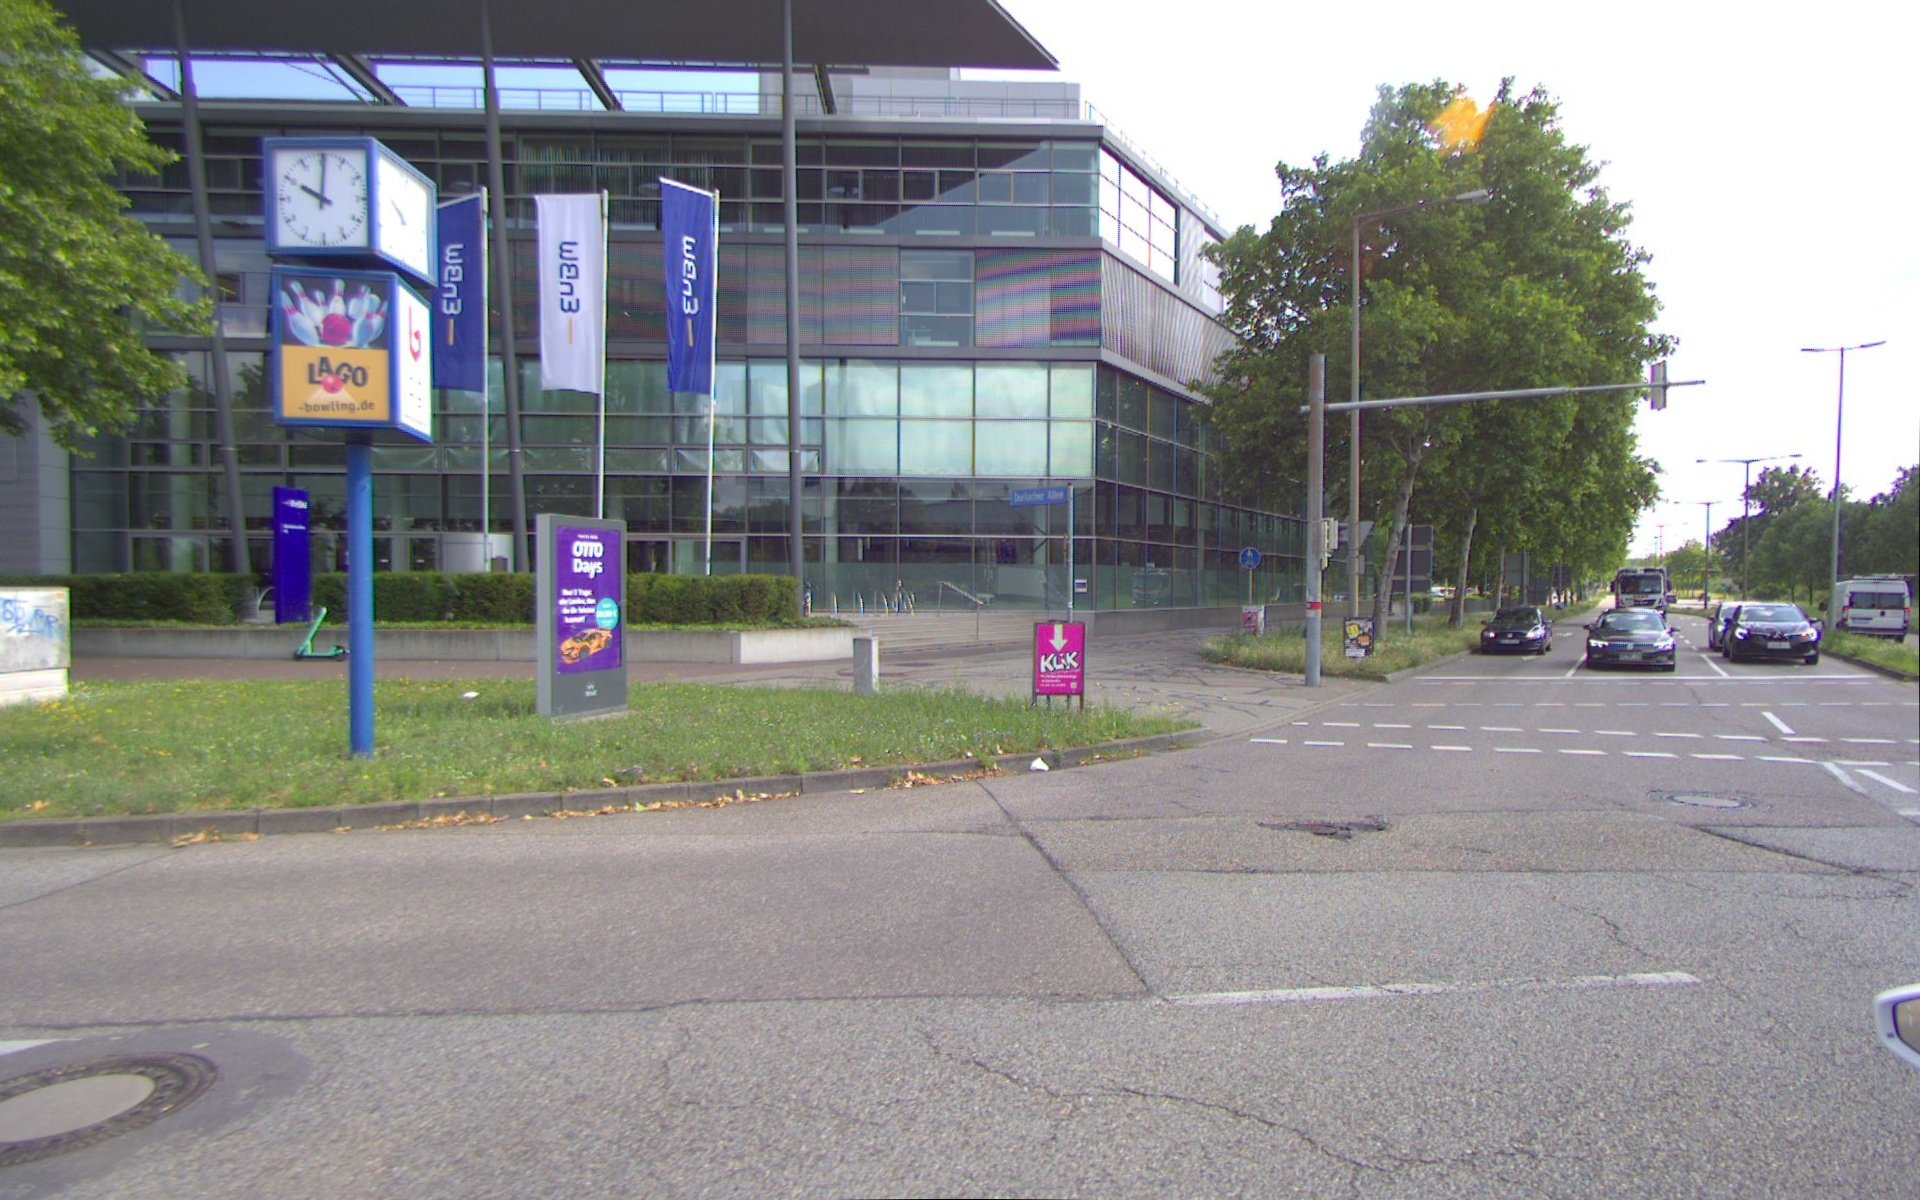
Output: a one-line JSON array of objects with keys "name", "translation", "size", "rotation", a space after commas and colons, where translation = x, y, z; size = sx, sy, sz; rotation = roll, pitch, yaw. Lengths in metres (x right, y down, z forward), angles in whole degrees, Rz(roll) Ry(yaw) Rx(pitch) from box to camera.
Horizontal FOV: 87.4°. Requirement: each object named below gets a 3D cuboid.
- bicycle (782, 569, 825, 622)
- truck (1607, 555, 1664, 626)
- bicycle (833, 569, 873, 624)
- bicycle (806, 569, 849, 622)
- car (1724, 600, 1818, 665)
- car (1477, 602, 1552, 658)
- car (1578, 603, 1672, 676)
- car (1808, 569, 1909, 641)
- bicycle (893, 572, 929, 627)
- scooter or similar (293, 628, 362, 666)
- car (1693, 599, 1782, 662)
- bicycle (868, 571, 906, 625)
[{"name": "bicycle", "translation": [-4.726, -0.112, 30.510], "size": [0.727, 1.401, 2.142], "rotation": [2, -5, 5]}, {"name": "truck", "translation": [41.274, -0.490, 61.322], "size": [2.614, 3.939, 10.127], "rotation": [-1, -1, 34]}, {"name": "bicycle", "translation": [-3.245, -0.077, 30.652], "size": [0.677, 1.459, 2.182], "rotation": [2, -5, 7]}, {"name": "bicycle", "translation": [-4.025, -0.100, 30.695], "size": [0.727, 1.401, 2.142], "rotation": [2, -5, 7]}, {"name": "car", "translation": [22.088, 0.838, 27.489], "size": [1.685, 1.608, 4.347], "rotation": [-1, -1, 35]}, {"name": "car", "translation": [17.801, 0.989, 32.177], "size": [1.706, 1.592, 3.989], "rotation": [2, -2, 34]}, {"name": "car", "translation": [16.987, 0.929, 25.556], "size": [1.840, 1.595, 4.552], "rotation": [-1, 1, 35]}, {"name": "car", "translation": [37.132, 0.134, 41.666], "size": [2.166, 2.763, 4.920], "rotation": [0, 2, 31]}, {"name": "bicycle", "translation": [-1.471, 0.002, 30.649], "size": [0.677, 1.459, 2.182], "rotation": [2, -5, 7]}, {"name": "scooter or similar", "translation": [-12.747, 0.950, 20.249], "size": [1.206, 0.722, 0.241], "rotation": [2, -5, 3]}, {"name": "car", "translation": [25.409, 1.048, 32.946], "size": [1.966, 1.750, 3.991], "rotation": [-1, -6, 33]}, {"name": "bicycle", "translation": [-2.203, -0.034, 30.590], "size": [0.677, 1.459, 2.182], "rotation": [2, -5, 7]}]
